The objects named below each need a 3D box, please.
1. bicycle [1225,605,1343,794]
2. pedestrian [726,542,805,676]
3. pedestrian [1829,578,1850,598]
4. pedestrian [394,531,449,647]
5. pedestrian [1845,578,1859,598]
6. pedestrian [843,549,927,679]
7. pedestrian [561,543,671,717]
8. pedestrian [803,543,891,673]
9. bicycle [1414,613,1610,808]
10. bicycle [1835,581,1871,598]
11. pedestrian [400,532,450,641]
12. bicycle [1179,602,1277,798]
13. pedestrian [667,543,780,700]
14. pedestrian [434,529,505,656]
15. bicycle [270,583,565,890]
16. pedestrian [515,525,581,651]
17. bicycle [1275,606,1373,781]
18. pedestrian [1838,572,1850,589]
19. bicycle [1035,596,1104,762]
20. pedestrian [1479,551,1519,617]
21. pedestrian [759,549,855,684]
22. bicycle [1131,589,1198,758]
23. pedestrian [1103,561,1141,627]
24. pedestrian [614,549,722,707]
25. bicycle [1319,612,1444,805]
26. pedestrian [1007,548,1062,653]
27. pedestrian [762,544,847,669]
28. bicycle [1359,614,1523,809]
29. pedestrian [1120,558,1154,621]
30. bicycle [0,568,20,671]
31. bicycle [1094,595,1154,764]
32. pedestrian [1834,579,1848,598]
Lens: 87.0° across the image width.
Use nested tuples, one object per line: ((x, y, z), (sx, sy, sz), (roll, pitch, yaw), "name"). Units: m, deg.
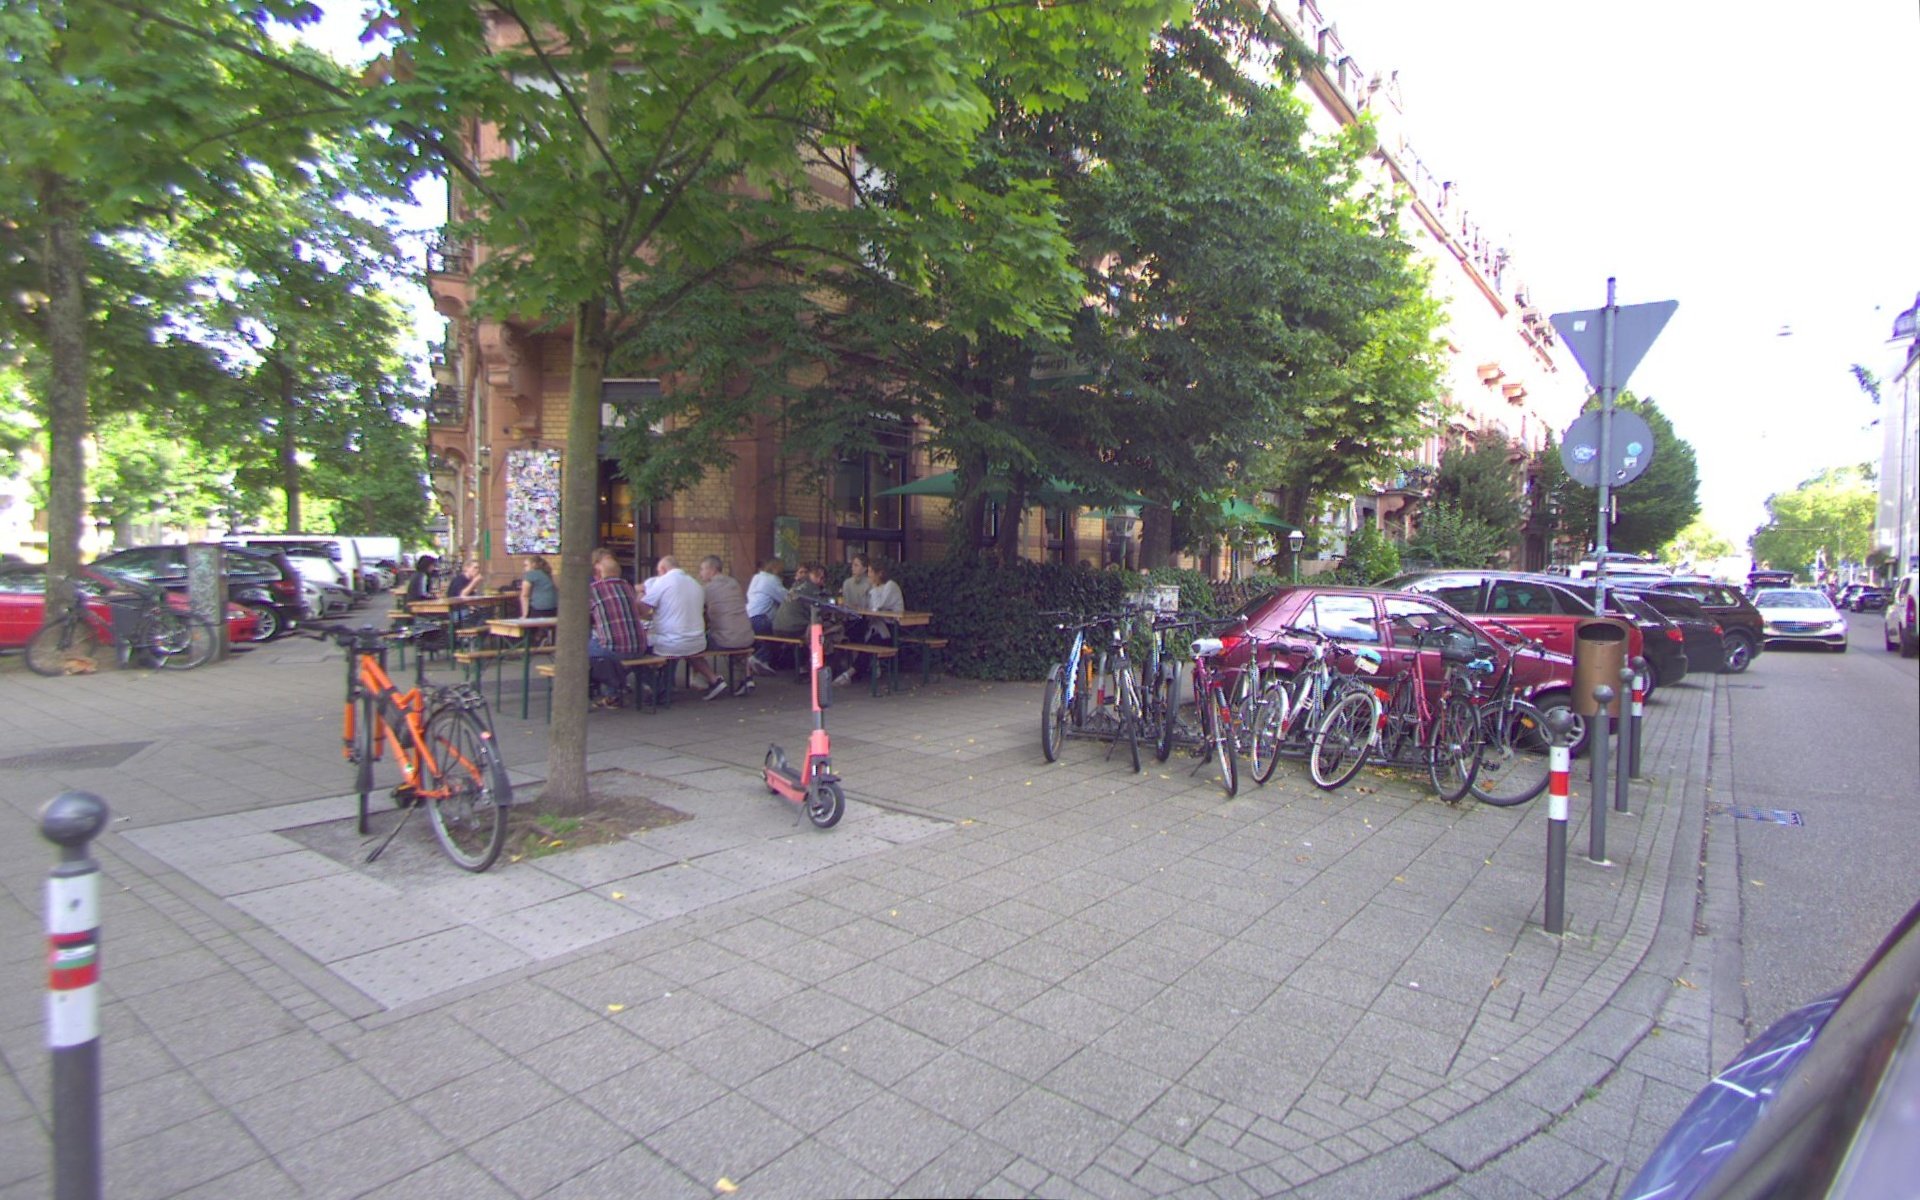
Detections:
((2.287, 0.628, 7.318), (0.438, 1.052, 1.902), (4, 3, 8), "bicycle")
((-2.144, 0.077, 11.172), (0.570, 1.424, 0.630), (2, 2, 31), "pedestrian")
((64.332, -0.887, 73.991), (0.880, 1.390, 1.088), (-1, 1, -44), "pedestrian")
((-7.574, -0.168, 14.251), (0.623, 1.583, 0.702), (0, 2, -24), "pedestrian")
((62.772, -0.865, 71.219), (0.687, 1.390, 0.728), (0, 1, 42), "pedestrian")
((-0.824, 0.135, 11.115), (0.667, 1.368, 0.621), (2, 2, 34), "pedestrian")
((-2.940, 0.228, 8.654), (0.754, 1.409, 0.542), (2, 2, 34), "pedestrian")
((-1.298, 0.071, 11.661), (0.670, 1.424, 0.749), (2, 2, 34), "pedestrian")
((3.837, 0.697, 7.210), (0.540, 1.052, 1.853), (4, 3, 8), "bicycle")
((62.068, -0.738, 70.360), (1.866, 1.189, 0.678), (1, 1, 40), "bicycle")
((-7.993, -0.206, 15.145), (0.629, 1.583, 0.702), (0, 2, -25), "pedestrian")
((1.814, 0.601, 7.035), (0.383, 1.052, 1.917), (4, 3, 8), "bicycle")
((-2.270, 0.175, 9.716), (0.794, 1.424, 0.694), (2, 2, 34), "pedestrian")
((-6.298, -0.100, 13.016), (0.592, 1.583, 0.693), (1, 1, -3), "pedestrian")
((-2.585, 0.501, 4.702), (1.925, 1.108, 0.642), (3, 2, 43), "bicycle")
((-5.346, -0.158, 13.159), (0.611, 1.583, 0.671), (1, 1, -5), "pedestrian")
((2.728, 0.636, 7.716), (0.342, 1.052, 1.852), (4, 3, 11), "bicycle")
((91.496, -2.042, 104.768), (0.842, 1.730, 0.867), (0, 1, 38), "pedestrian")
((0.825, 0.524, 7.460), (0.444, 1.053, 1.383), (1, 2, 8), "bicycle")
((15.816, -0.486, 29.713), (0.839, 1.901, 0.712), (2, 2, 43), "pedestrian")
((-1.628, 0.150, 10.805), (0.670, 1.375, 0.749), (2, 2, 34), "pedestrian")
((1.577, 0.504, 7.964), (0.348, 1.086, 1.794), (4, 3, 8), "bicycle")
((3.193, -0.130, 19.875), (0.484, 1.234, 0.643), (4, 3, 29), "pedestrian")
((-2.638, 0.224, 9.150), (0.754, 1.359, 0.589), (2, 2, 34), "pedestrian")
((2.965, 0.684, 7.278), (0.342, 1.052, 2.013), (4, 3, 11), "bicycle")
((1.234, -0.005, 16.705), (0.644, 1.662, 0.557), (5, 3, 34), "pedestrian")
((-1.842, 0.054, 12.013), (0.670, 1.424, 0.749), (2, 2, 34), "pedestrian")
((3.344, 0.704, 7.197), (0.453, 1.052, 1.853), (4, 3, 8), "bicycle")
((3.557, -0.224, 20.364), (0.463, 1.234, 0.558), (4, 3, 29), "pedestrian")
((-11.123, 0.236, 10.581), (1.815, 1.094, 0.427), (-2, 3, -34), "bicycle")
((1.215, 0.534, 7.558), (0.331, 1.052, 1.453), (4, 3, 8), "bicycle")
((62.693, -0.841, 72.016), (0.736, 1.365, 0.635), (0, 1, 41), "pedestrian")
